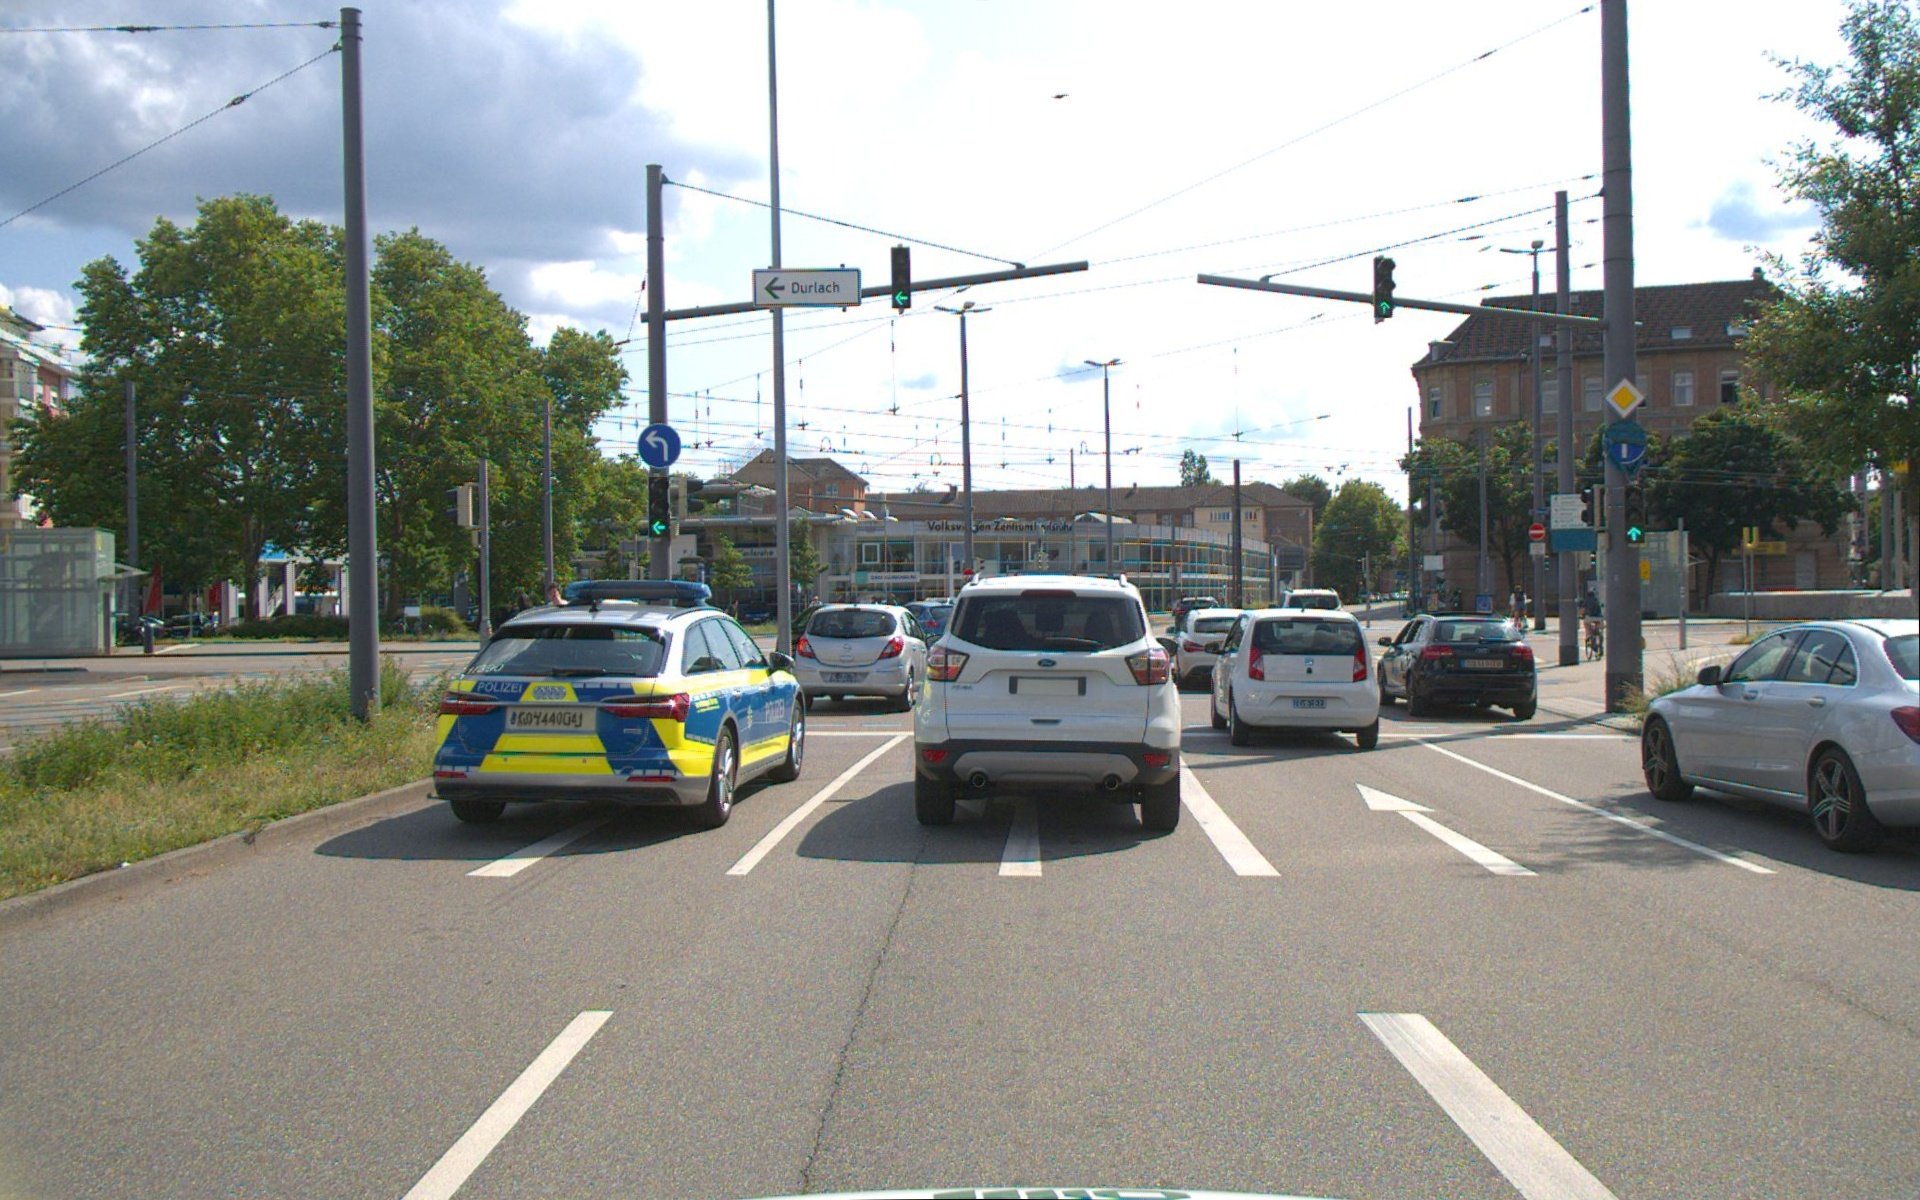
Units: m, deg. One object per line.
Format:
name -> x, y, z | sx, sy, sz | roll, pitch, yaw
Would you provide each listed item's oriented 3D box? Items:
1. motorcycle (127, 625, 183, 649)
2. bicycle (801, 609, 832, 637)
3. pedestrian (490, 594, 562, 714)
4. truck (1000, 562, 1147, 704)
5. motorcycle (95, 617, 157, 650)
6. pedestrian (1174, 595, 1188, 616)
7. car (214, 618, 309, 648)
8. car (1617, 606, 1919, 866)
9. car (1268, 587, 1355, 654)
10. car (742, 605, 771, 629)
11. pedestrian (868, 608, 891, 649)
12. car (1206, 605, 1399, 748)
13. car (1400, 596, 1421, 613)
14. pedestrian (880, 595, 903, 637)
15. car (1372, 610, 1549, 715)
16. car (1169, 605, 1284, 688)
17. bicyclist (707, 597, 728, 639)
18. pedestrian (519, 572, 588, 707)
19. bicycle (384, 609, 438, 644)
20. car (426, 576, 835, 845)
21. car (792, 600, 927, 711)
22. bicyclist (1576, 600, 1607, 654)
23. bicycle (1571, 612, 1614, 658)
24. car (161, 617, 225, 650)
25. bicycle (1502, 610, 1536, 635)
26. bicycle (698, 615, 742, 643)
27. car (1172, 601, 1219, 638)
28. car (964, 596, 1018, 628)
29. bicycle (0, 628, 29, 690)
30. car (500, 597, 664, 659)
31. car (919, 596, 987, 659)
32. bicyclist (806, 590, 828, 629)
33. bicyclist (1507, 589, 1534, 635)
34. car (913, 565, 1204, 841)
motorcycle -> -34.499, 1.566, 70.925 | 0.795, 0.933, 2.037 | -1, 1, 36
bicycle -> -6.506, 1.021, 75.083 | 0.743, 1.213, 2.152 | -2, 0, 13
pedestrian -> -6.238, 0.773, 23.787 | 0.830, 1.677, 0.692 | -1, -1, -2
truck -> 2.053, 0.522, 28.645 | 2.289, 2.193, 5.855 | 0, 0, 6
motorcycle -> -33.317, 1.340, 66.106 | 2.165, 1.259, 0.906 | -1, 1, 17
pedestrian -> 18.293, 0.447, 136.799 | 0.860, 1.768, 0.873 | 0, -1, 35
car -> -34.031, 1.607, 80.676 | 3.908, 1.350, 1.632 | -2, -1, -3
car -> 6.492, 0.794, 11.704 | 1.890, 1.481, 4.759 | 0, 0, 1
car -> 9.192, 0.546, 43.520 | 1.797, 1.681, 4.002 | 0, -1, 6
car -> -14.325, 1.230, 116.454 | 1.783, 1.560, 3.912 | -2, -1, -5
pedestrian -> -3.507, 1.235, 71.758 | 0.904, 1.774, 0.589 | 1, -1, 3
car -> 3.926, 0.820, 19.537 | 1.615, 1.447, 4.002 | -1, 0, 3
car -> 44.792, 0.464, 164.352 | 1.798, 1.681, 4.001 | 0, -1, 19
pedestrian -> -2.921, 0.699, 70.737 | 0.904, 1.774, 0.589 | 1, -1, 3
car -> 7.300, 0.869, 24.501 | 1.663, 1.396, 4.135 | 1, -1, 5
car -> 4.901, 0.826, 30.795 | 1.811, 1.444, 3.681 | 0, 0, 4
bicyclist -> -10.346, 0.756, 70.456 | 0.646, 1.768, 0.640 | 0, 0, 20
pedestrian -> -6.032, 0.580, 24.581 | 0.830, 1.950, 0.692 | -1, -1, -2
bicycle -> -22.969, 1.106, 69.231 | 2.133, 1.439, 0.809 | 0, 0, -16
car -> -2.161, 0.669, 12.248 | 1.840, 1.595, 4.617 | -1, 0, 3
car -> -1.408, 0.765, 24.498 | 1.810, 1.500, 3.999 | 0, 0, -1
bicyclist -> 15.092, 0.635, 39.540 | 0.621, 1.241, 0.924 | -3, 0, 20
bicycle -> 15.090, 0.827, 39.501 | 0.829, 0.987, 1.962 | -4, 0, 19
car -> -35.883, 1.588, 77.500 | 1.872, 1.438, 3.987 | -1, -1, -12
bicycle -> 17.951, 0.710, 53.144 | 0.572, 0.789, 1.621 | -1, 0, 1
bicycle -> -10.217, 1.223, 70.404 | 1.741, 1.145, 0.640 | 0, 0, 20
car -> 9.405, 0.772, 66.296 | 1.810, 1.444, 3.681 | 0, 0, 7
car -> 1.567, 0.590, 82.044 | 1.653, 1.487, 3.971 | -2, 0, 17
bicycle -> -19.905, 1.205, 32.836 | 2.248, 1.209, 0.994 | -2, -1, -4
car -> -10.359, 0.746, 45.212 | 4.450, 1.606, 2.038 | 0, 0, 37
car -> -0.236, 0.715, 45.950 | 1.727, 1.595, 4.525 | -1, 1, -2
bicyclist -> -6.479, 0.421, 75.212 | 0.743, 1.712, 0.761 | -2, 0, 14
bicyclist -> 17.942, 0.386, 52.952 | 0.595, 1.476, 0.774 | -1, -1, 0
car -> 0.698, 0.648, 12.213 | 1.789, 1.693, 3.957 | 0, 0, 3
